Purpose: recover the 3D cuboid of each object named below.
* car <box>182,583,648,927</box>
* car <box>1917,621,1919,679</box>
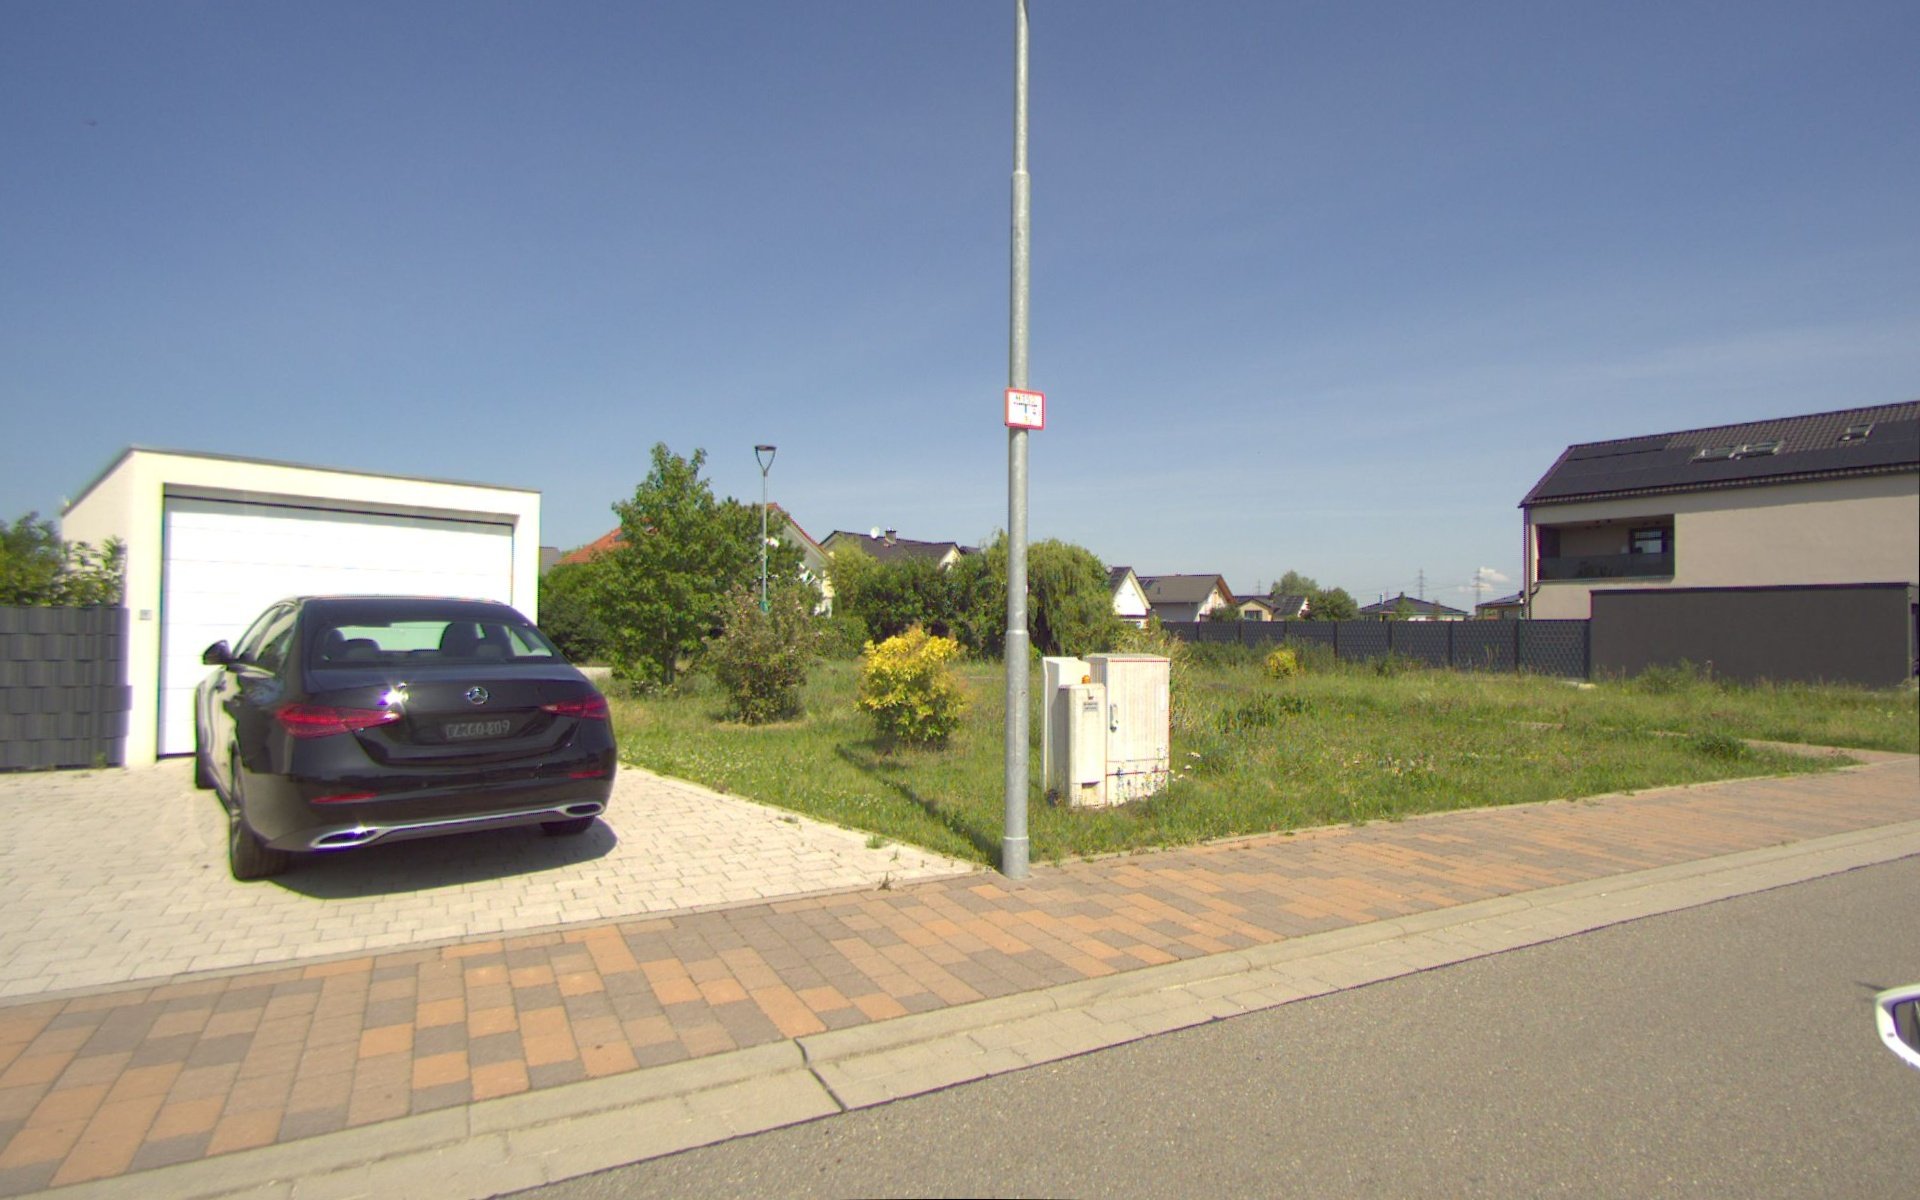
[{"bbox_3d":[-3.786,0.674,6.524,1.736,1.471,4.353,2,-1,-41],"label":"car"},{"bbox_3d":[29.682,1.526,27.826,1.754,1.653,4.344,2,0,-37],"label":"car"}]
